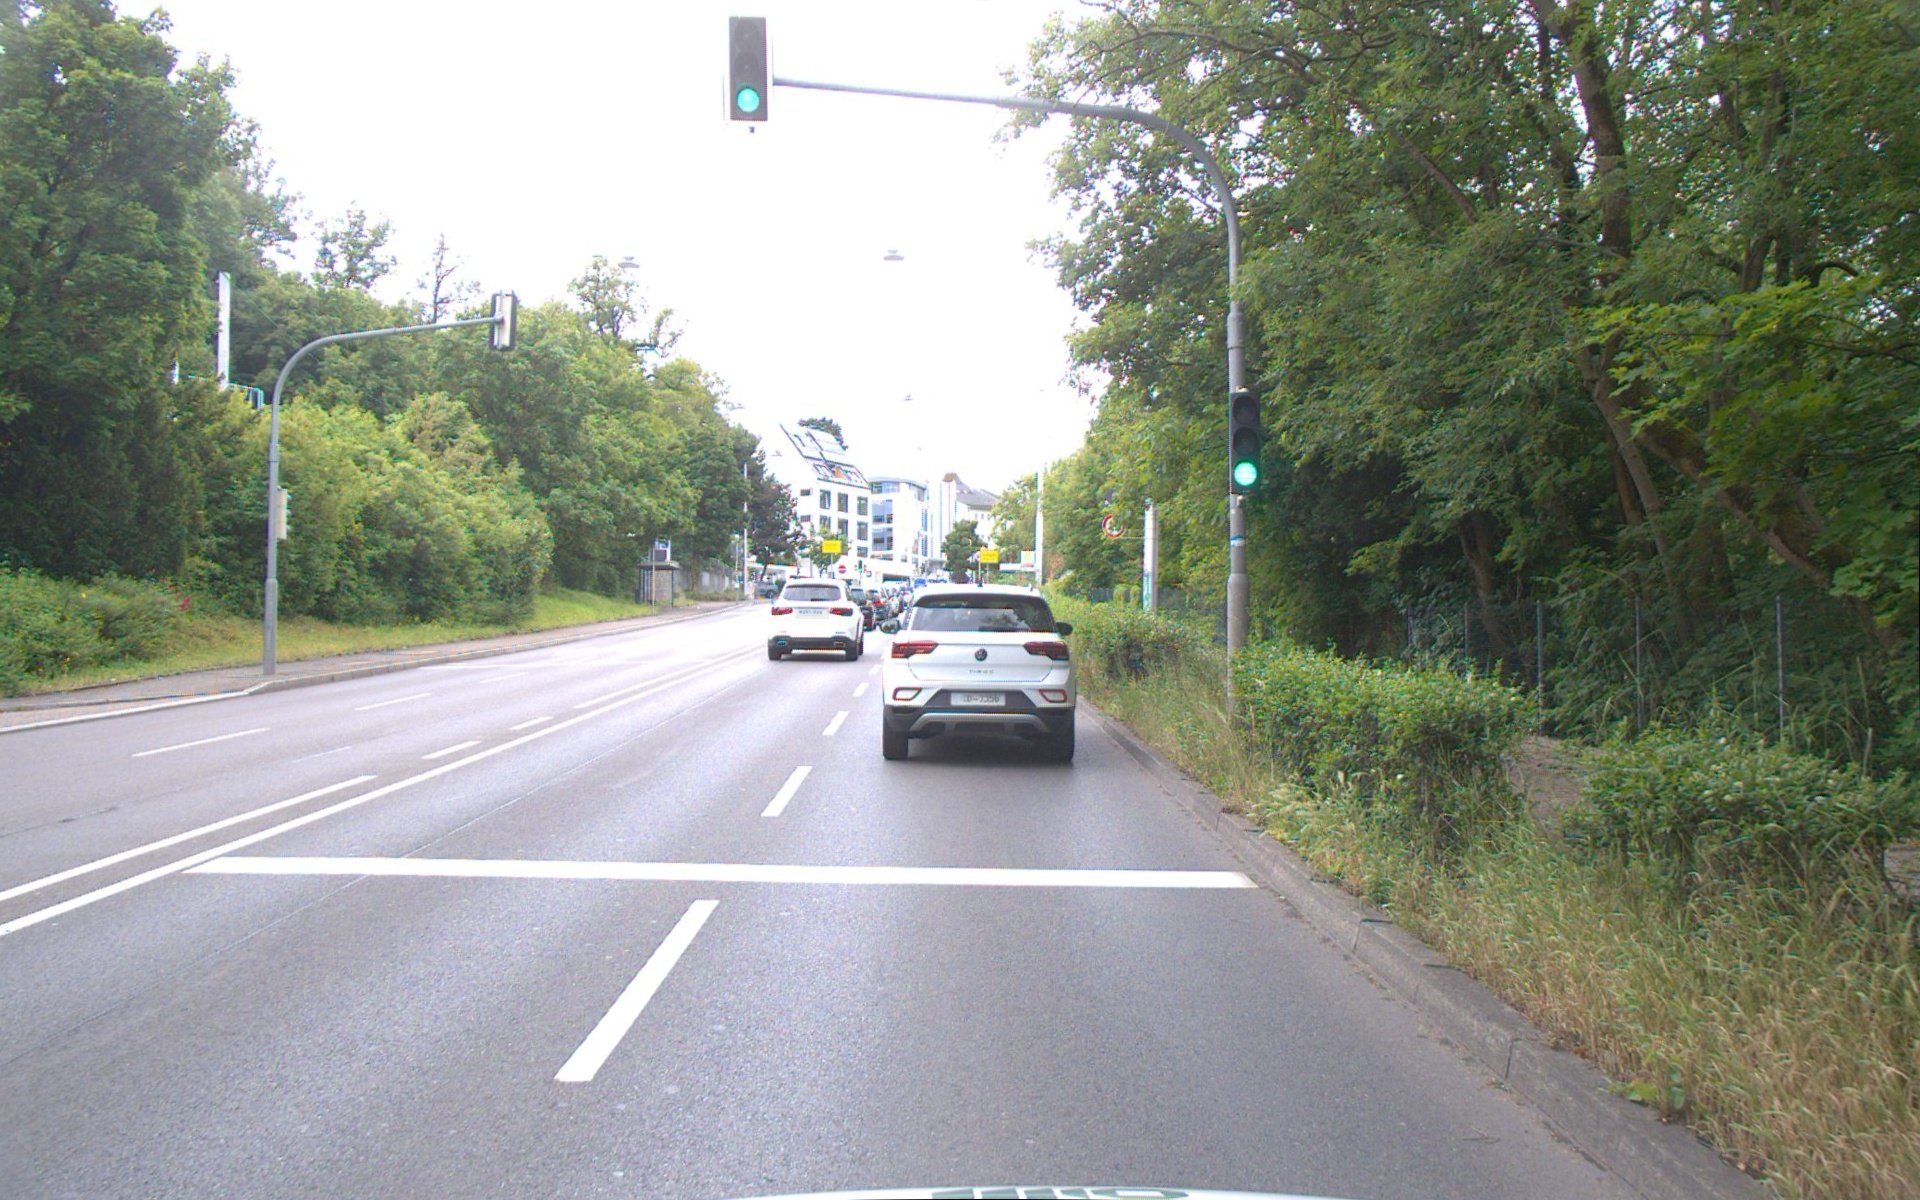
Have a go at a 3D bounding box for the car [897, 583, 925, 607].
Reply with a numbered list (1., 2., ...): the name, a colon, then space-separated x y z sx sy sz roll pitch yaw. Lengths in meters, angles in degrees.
1. car: -3.260 -0.326 110.183 1.792 1.552 3.999 -1 0 -1

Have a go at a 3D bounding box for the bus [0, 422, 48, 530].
1. bus: -27.968 -3.550 44.552 2.489 2.838 7.941 -1 -1 -1

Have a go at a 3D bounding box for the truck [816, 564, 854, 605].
1. truck: -8.652 -1.070 114.906 2.314 2.754 4.477 -2 0 -1

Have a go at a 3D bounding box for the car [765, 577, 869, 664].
1. car: -2.928 0.401 34.685 1.879 1.698 3.999 1 0 -1

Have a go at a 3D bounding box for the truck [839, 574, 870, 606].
1. truck: -10.455 -0.971 163.946 2.245 3.104 6.982 -1 0 3

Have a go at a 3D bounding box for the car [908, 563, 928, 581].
1. car: -3.839 -2.557 151.060 1.792 1.552 3.999 -1 0 -1

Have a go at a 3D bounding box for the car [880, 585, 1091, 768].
1. car: 0.186 0.642 16.100 1.792 1.552 3.999 0 0 -1

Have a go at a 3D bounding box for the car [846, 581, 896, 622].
1. car: -3.487 0.046 65.550 1.792 1.552 3.999 -1 0 -1

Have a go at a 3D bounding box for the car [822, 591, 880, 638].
1. car: -3.696 0.460 56.673 1.792 1.523 3.999 -1 0 -1

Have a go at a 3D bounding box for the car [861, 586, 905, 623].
1. car: -3.374 0.186 73.069 1.792 1.552 3.999 -1 0 -1

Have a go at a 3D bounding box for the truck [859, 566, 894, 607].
1. truck: -6.028 -0.950 119.554 2.314 2.830 4.477 -2 0 -1

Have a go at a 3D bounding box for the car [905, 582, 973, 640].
1. car: -0.596 0.286 46.619 1.792 1.552 3.999 -1 0 -1

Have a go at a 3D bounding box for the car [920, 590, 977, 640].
1. car: -0.392 0.469 54.194 1.792 1.552 3.999 -1 0 -1

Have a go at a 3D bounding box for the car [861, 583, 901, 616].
1. car: -3.836 -0.047 80.986 1.792 1.552 3.999 -1 0 -1
